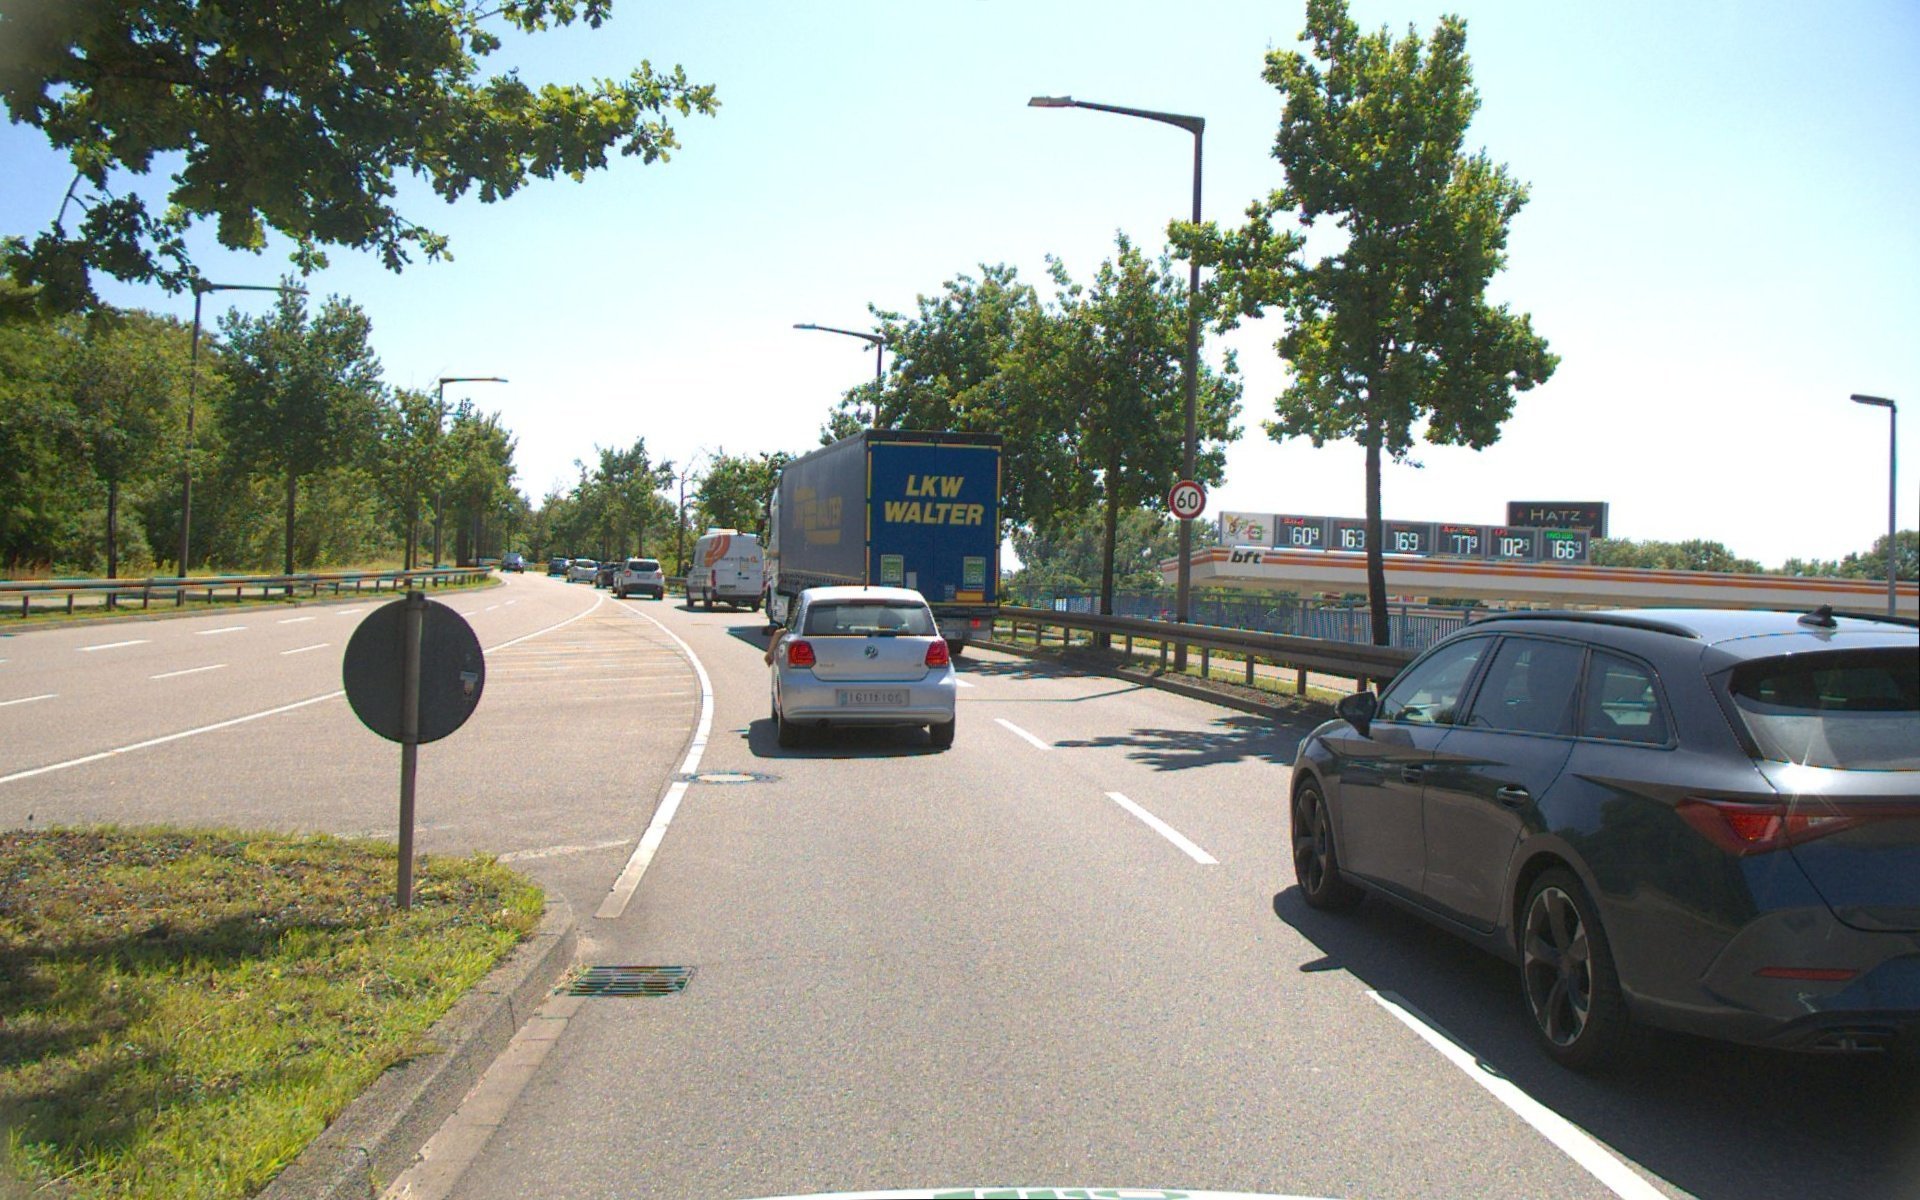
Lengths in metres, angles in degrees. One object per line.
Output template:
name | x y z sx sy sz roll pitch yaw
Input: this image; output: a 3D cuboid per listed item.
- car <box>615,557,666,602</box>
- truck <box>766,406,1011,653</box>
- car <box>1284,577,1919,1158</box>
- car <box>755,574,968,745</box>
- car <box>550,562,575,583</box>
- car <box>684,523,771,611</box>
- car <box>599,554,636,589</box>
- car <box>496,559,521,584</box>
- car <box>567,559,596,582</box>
car | -13.680 -0.844 70.690 1.871 1.748 4.207 2 -1 -15
truck | -2.186 -1.241 37.249 2.783 4.272 16.424 1 0 -12
car | 2.649 0.729 6.420 1.573 1.481 4.230 1 -1 -6
car | -1.067 0.548 16.239 1.616 1.464 3.527 1 -1 -11
car | -30.300 -2.102 126.227 1.635 1.491 3.571 1 -1 -11
car | -8.513 -1.197 60.089 2.141 2.951 6.329 1 1 -17
car | -18.659 -1.539 90.108 1.693 1.756 3.983 2 -1 -15
car | -34.229 -2.181 125.424 1.650 1.700 3.743 1 2 -13
car | -23.630 -1.837 103.250 1.581 1.384 3.648 1 0 -15
